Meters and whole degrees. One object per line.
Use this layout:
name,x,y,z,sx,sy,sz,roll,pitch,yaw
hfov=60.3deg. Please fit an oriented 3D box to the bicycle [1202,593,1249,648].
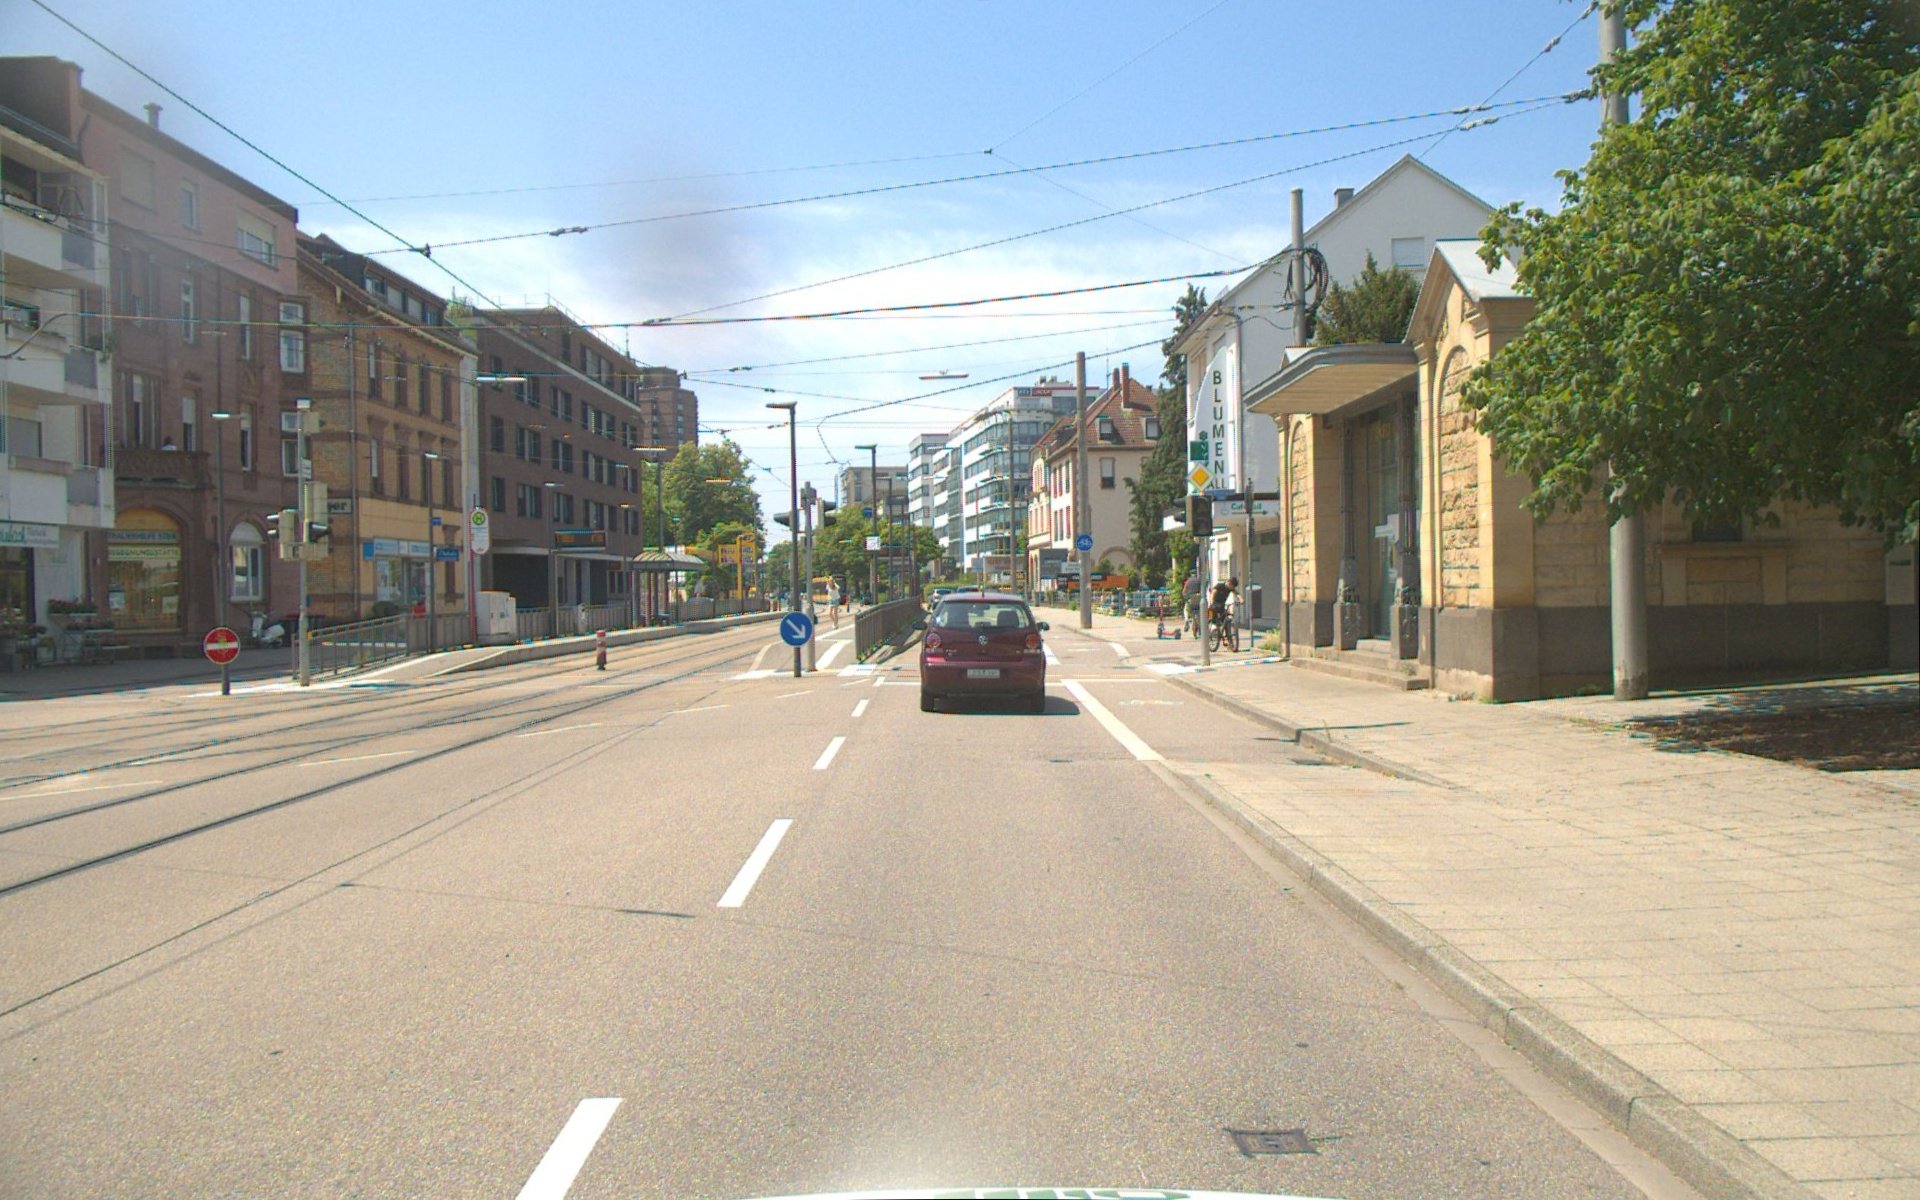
bicycle,5.530,0.412,34.518,0.654,1.019,1.864,-5,1,2

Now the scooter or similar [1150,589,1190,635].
scooter or similar,5.548,0.309,43.741,0.335,1.198,1.457,-1,0,-24

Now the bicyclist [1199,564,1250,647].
bicyclist,5.524,0.105,34.618,0.815,1.646,0.860,-5,1,2

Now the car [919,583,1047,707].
car,0.262,0.541,21.699,1.529,1.479,3.061,-1,0,-1

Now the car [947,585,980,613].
car,0.201,-0.075,101.415,1.953,1.653,4.631,-2,0,0

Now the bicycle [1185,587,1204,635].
bicycle,6.173,0.271,43.520,0.367,1.218,1.907,-1,1,12

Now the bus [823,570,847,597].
bus,-14.790,-1.890,195.189,2.106,3.055,6.557,-1,0,-10

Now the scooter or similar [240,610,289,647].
scooter or similar,-21.554,0.876,51.276,0.477,1.101,1.578,-1,1,16

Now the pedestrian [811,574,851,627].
pedestrian,-4.245,0.023,54.472,1.084,1.704,0.759,-1,0,-27

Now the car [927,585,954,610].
car,-1.527,-0.202,129.030,1.954,1.881,3.998,-2,1,-3

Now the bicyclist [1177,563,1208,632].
bicyclist,6.151,-0.063,43.751,0.712,1.791,0.925,-1,0,12

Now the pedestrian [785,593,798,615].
pedestrian,-15.840,0.373,155.663,1.086,2.049,1.039,-1,0,0

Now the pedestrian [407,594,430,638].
pedestrian,-20.036,0.582,61.237,0.602,1.588,0.640,-2,0,-1
